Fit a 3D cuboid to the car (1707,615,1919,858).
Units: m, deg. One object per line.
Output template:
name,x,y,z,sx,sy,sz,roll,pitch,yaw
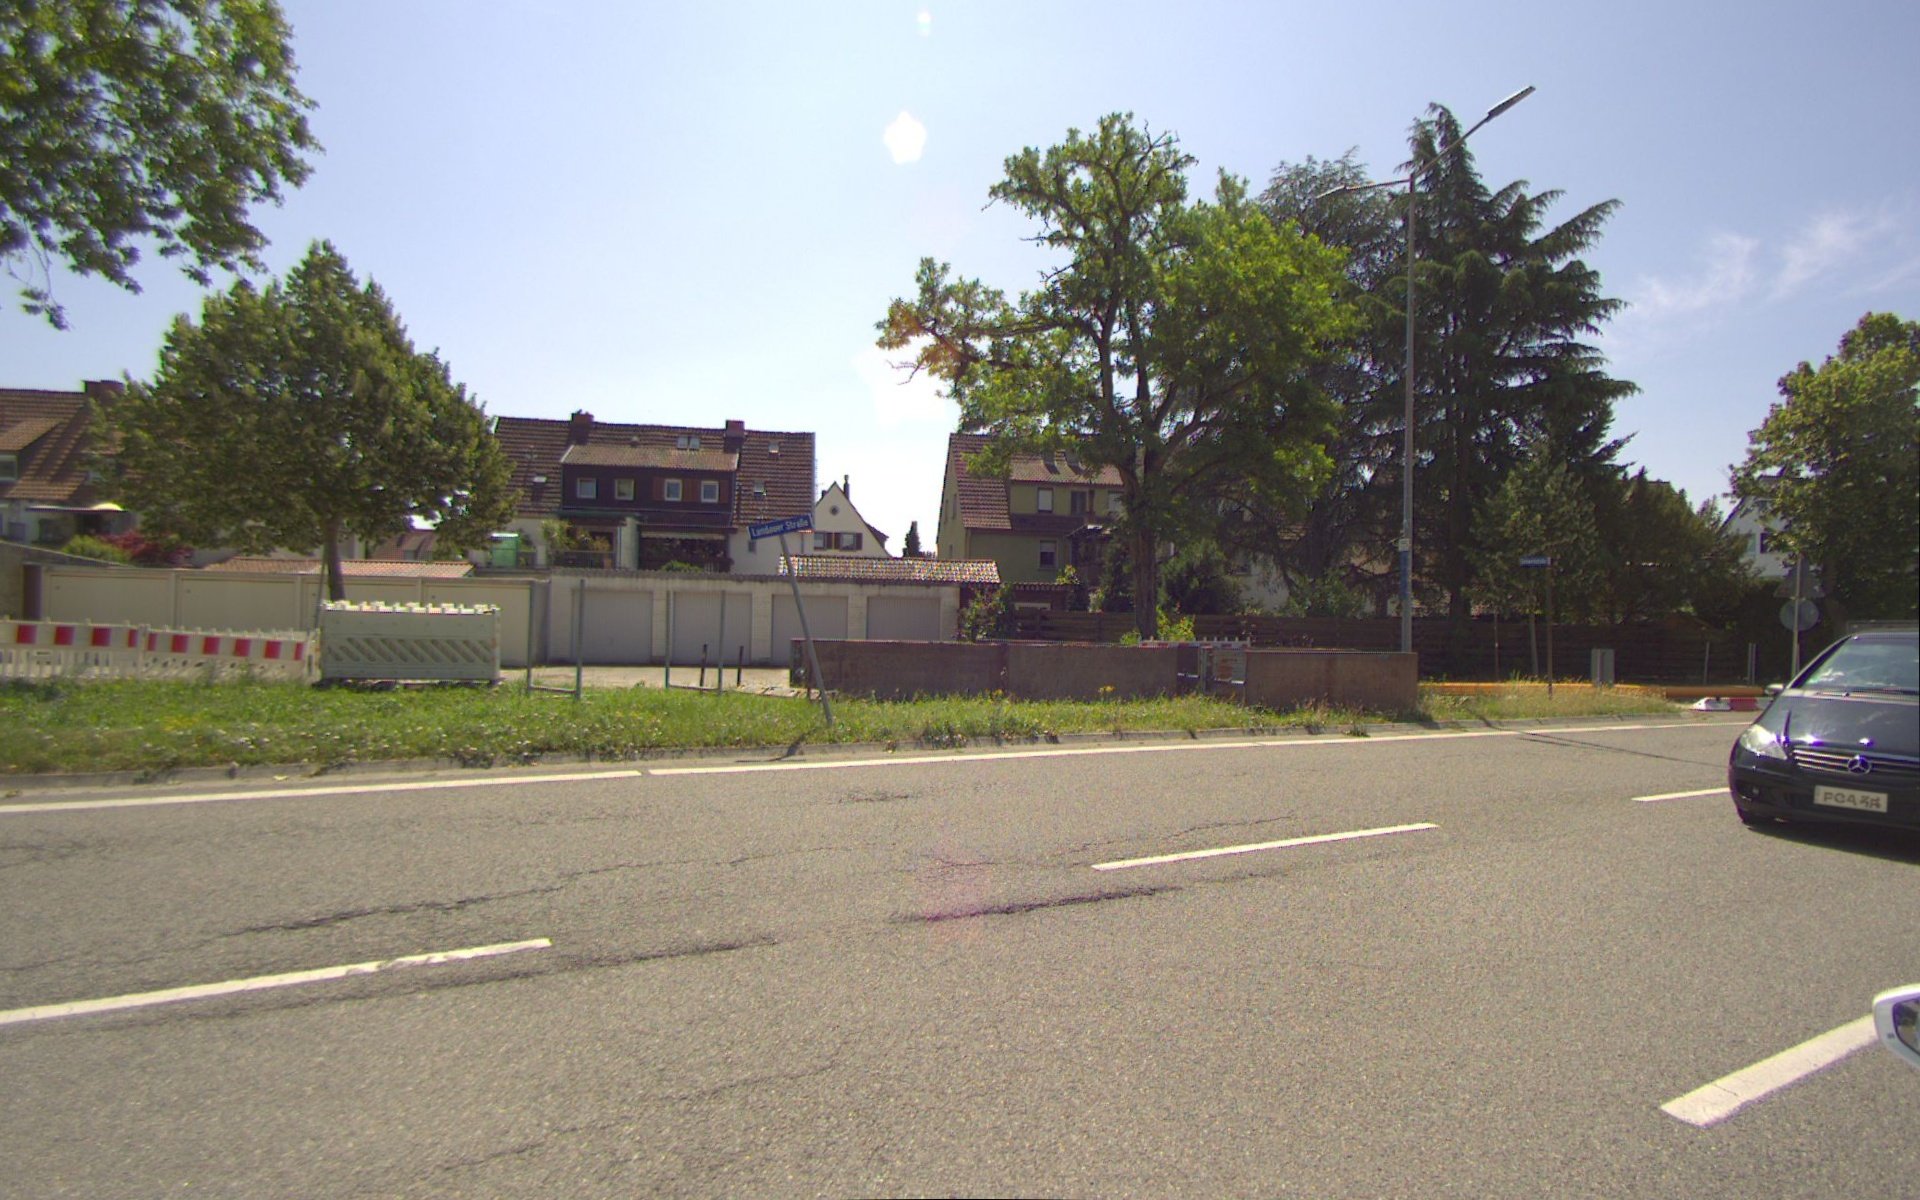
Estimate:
car,7.725,0.963,7.877,3.788,1.553,1.716,2,0,-32
